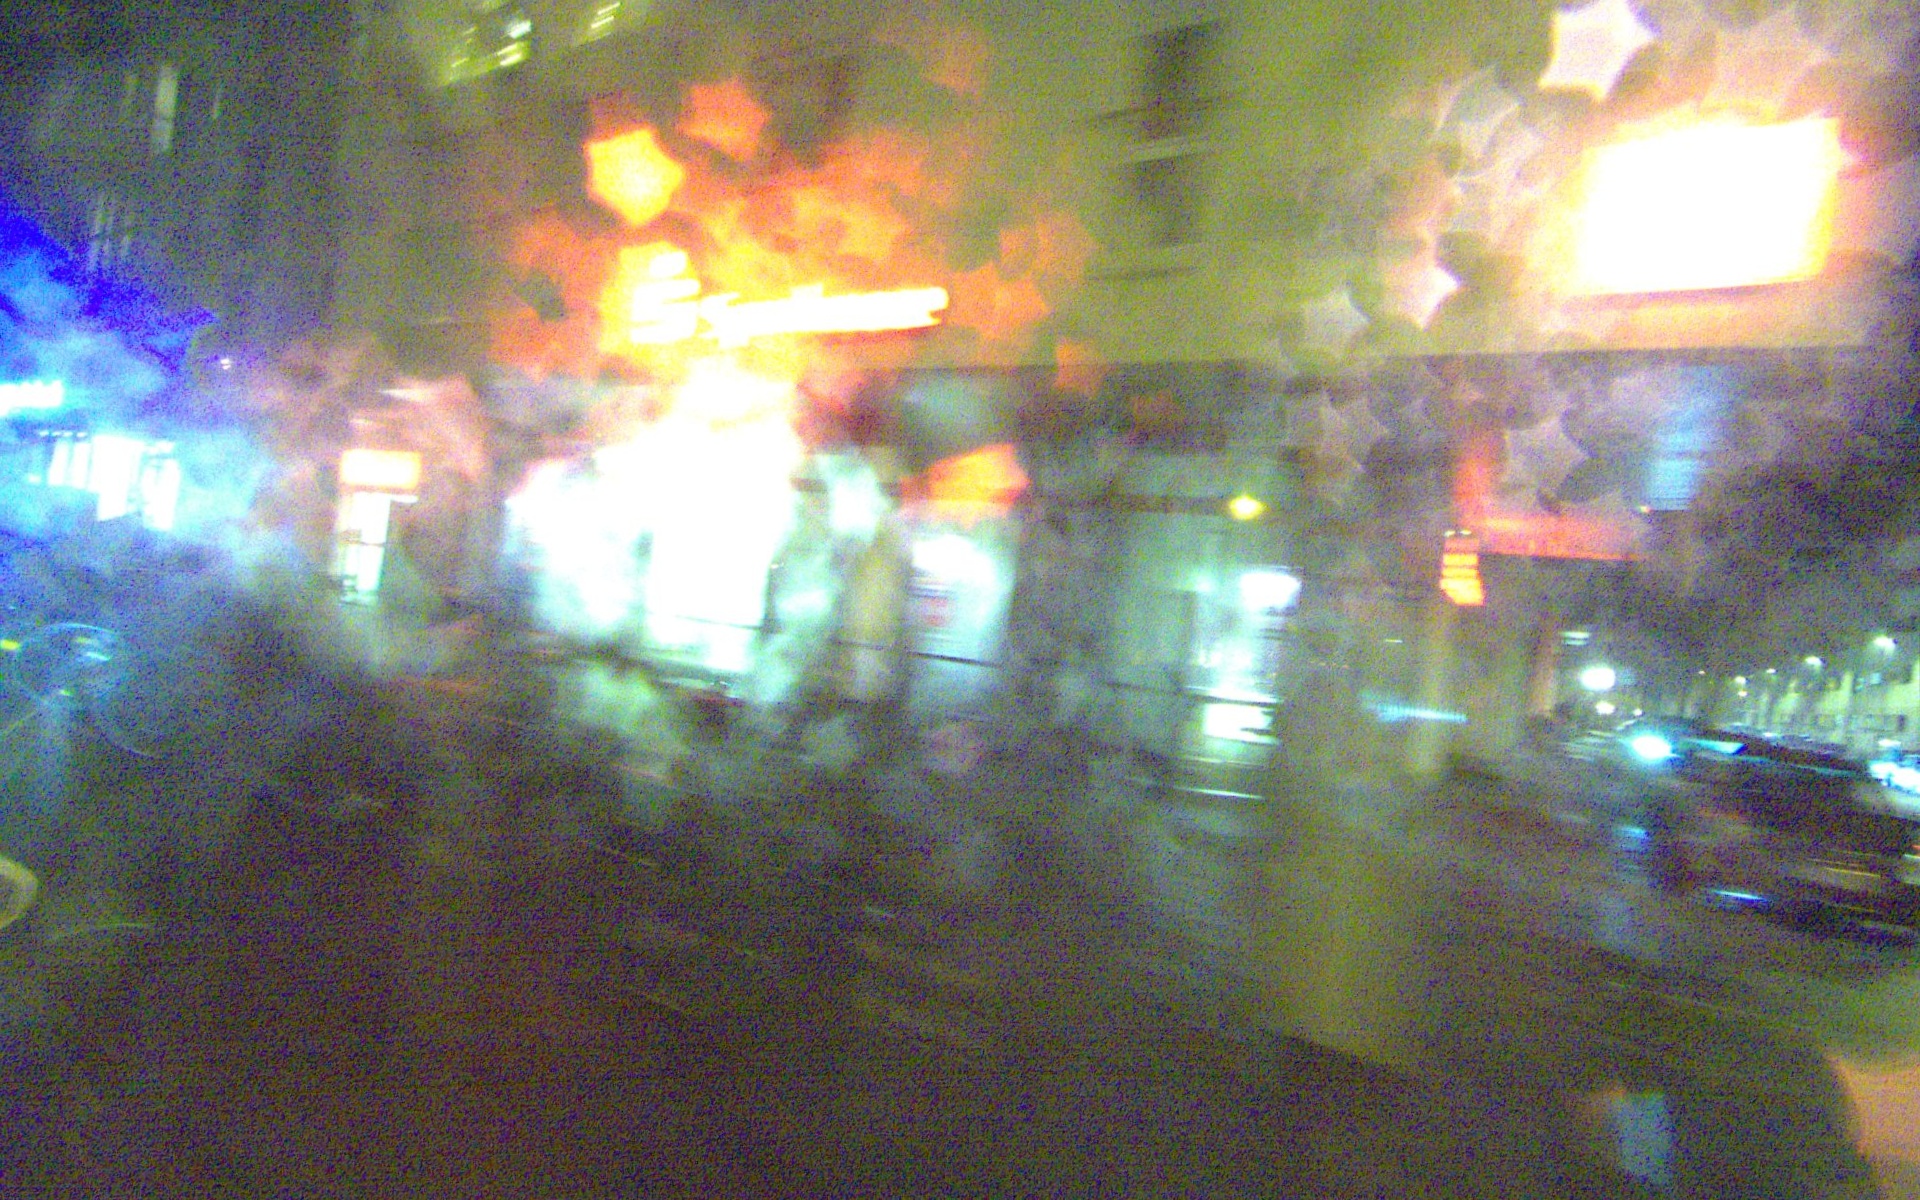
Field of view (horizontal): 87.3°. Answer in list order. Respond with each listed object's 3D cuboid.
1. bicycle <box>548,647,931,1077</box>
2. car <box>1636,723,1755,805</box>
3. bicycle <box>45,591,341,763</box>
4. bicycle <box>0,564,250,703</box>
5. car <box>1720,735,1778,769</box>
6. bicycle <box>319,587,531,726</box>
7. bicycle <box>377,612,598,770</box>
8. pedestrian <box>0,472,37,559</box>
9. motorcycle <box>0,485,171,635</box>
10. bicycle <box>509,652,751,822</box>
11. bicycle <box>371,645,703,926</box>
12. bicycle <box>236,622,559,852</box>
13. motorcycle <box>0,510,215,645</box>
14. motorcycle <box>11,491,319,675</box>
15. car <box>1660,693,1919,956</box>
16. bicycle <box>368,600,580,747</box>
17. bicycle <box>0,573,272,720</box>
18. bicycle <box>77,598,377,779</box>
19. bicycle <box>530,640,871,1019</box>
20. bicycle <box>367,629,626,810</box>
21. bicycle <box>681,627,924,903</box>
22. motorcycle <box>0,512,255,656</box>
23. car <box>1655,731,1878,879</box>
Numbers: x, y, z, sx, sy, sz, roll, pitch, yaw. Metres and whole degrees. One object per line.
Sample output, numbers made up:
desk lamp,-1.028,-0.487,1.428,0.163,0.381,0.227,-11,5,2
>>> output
bicycle,-0.736,0.838,3.777,0.360,1.219,1.526,6,4,34
car,17.190,3.796,23.685,1.812,1.450,4.154,7,-3,32
bicycle,-4.944,0.440,6.594,0.360,0.966,1.528,6,4,28
bicycle,-6.493,0.236,7.730,0.361,0.966,1.665,7,5,39
car,44.725,8.645,57.113,1.967,1.552,3.998,6,-4,32
bicycle,-4.182,0.397,7.973,0.360,0.966,1.528,6,4,28
bicycle,-3.367,0.601,7.296,0.360,0.966,1.528,6,4,28
pedestrian,-20.857,-1.863,22.055,0.614,1.811,0.702,8,2,35
motorcycle,-10.468,-0.453,11.332,0.852,1.610,2.288,7,3,31
bicycle,-2.007,0.799,6.303,0.320,0.845,1.526,7,4,35
bicycle,-1.934,0.786,4.805,0.360,1.038,1.528,6,4,30
bicycle,-3.003,0.672,5.509,0.360,1.038,1.526,7,4,35
motorcycle,-9.612,-0.238,10.990,0.852,1.336,2.172,7,3,31
motorcycle,-7.686,-0.148,9.859,0.852,1.568,2.172,7,3,31
car,8.059,1.998,9.643,1.812,1.790,4.154,7,-3,32
bicycle,-3.641,0.505,7.657,0.360,0.966,1.529,6,4,27
bicycle,-6.014,0.309,7.406,0.361,0.966,1.524,7,5,39
bicycle,-4.556,0.495,6.371,0.360,0.966,1.528,6,4,28
bicycle,-0.996,0.826,4.203,0.360,1.219,1.528,6,4,30
bicycle,-2.926,0.709,6.488,0.360,0.966,1.526,7,4,35
bicycle,-0.791,0.795,5.443,0.360,1.219,1.528,6,4,30
motorcycle,-8.824,-0.158,10.529,0.852,1.336,2.172,7,3,31
car,11.071,2.720,14.118,1.812,1.450,4.154,7,-3,32
